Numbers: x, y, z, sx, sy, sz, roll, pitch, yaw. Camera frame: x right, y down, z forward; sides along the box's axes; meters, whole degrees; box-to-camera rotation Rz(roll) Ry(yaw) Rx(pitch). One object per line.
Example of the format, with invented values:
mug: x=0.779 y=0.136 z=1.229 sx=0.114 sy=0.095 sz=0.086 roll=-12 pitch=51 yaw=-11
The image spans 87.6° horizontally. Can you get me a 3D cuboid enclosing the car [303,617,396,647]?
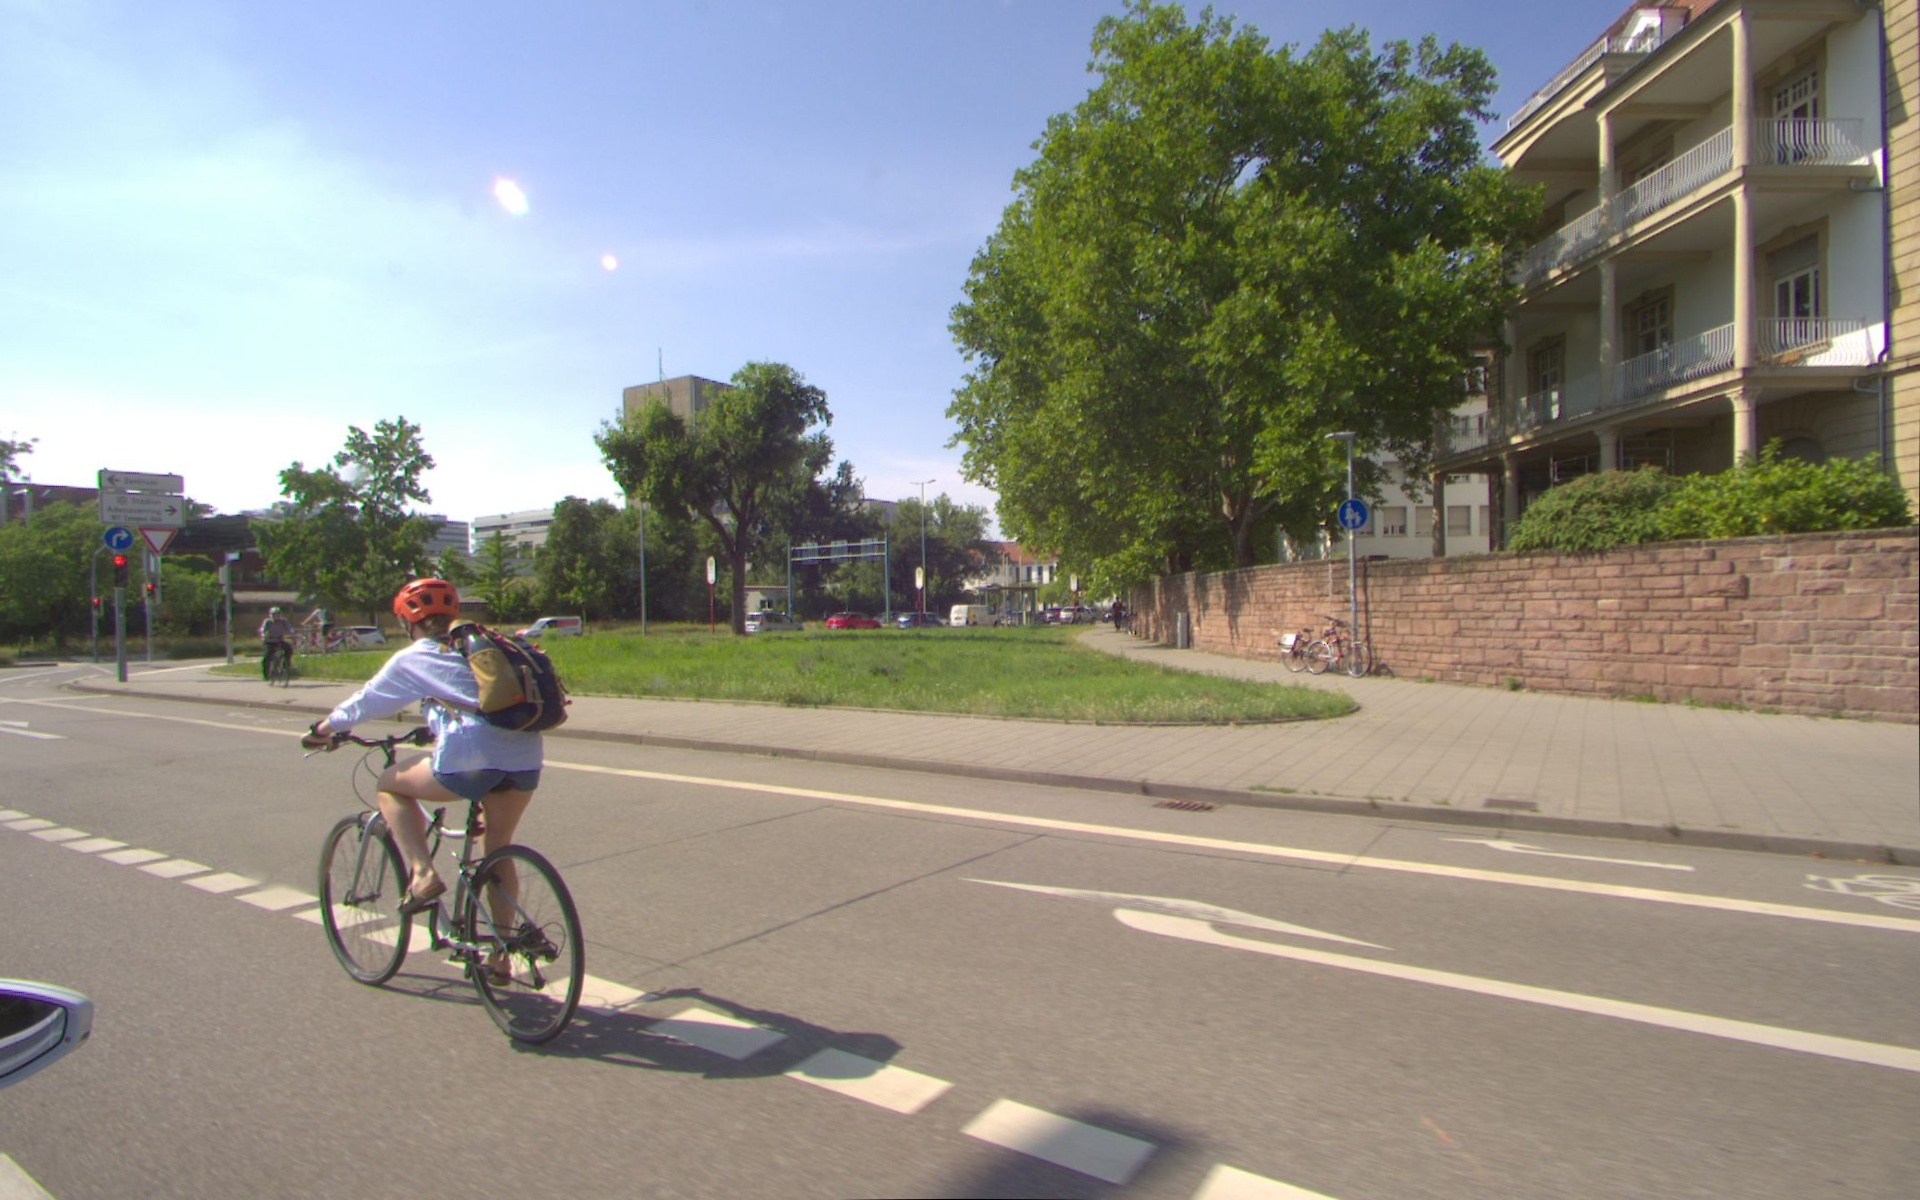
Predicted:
car: x=-34.287 y=1.788 z=56.330 sx=1.972 sy=1.483 sz=3.978 roll=-2 pitch=-1 yaw=33

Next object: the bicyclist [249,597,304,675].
bicyclist: x=-15.138 y=0.790 z=22.168 sx=0.906 sy=1.677 sz=0.676 roll=0 pitch=1 yaw=33

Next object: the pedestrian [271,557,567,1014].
pedestrian: x=-2.046 y=0.618 z=3.775 sx=0.999 sy=1.485 sz=0.582 roll=-1 pitch=-1 yaw=33

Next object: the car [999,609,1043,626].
car: x=5.063 y=1.440 z=83.020 sx=1.730 sy=1.357 sz=3.973 roll=-1 pitch=0 yaw=36

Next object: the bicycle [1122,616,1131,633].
bicycle: x=7.723 y=1.143 z=46.439 sx=0.334 sy=0.738 sz=1.365 roll=-1 pitch=0 yaw=6

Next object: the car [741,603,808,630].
car: x=-11.121 y=0.953 z=60.362 sx=1.728 sy=1.528 sz=3.977 roll=-1 pitch=0 yaw=33

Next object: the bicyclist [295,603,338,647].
bicyclist: x=-22.117 y=0.850 z=34.407 sx=1.121 sy=1.489 sz=0.496 roll=0 pitch=-2 yaw=-10

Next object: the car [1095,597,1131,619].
car: x=14.864 y=0.799 z=97.255 sx=1.973 sy=2.040 sz=3.975 roll=-1 pitch=0 yaw=35

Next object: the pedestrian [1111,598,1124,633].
pedestrian: x=8.120 y=0.779 z=51.559 sx=0.608 sy=1.763 sz=0.599 roll=-1 pitch=1 yaw=4

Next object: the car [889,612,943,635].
car: x=-3.138 y=1.665 z=71.759 sx=1.730 sy=1.493 sz=3.973 roll=-1 pitch=0 yaw=36

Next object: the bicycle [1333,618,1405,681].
bicycle: x=7.708 y=0.913 z=18.908 sx=0.343 sy=1.138 sz=1.430 roll=-1 pitch=0 yaw=-22

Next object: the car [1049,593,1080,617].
car: x=9.470 y=0.444 z=90.536 sx=1.965 sy=2.040 sz=3.991 roll=-1 pitch=0 yaw=19

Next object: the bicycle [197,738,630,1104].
bicycle: x=-2.164 y=1.086 z=3.845 sx=2.000 sy=0.943 sz=0.595 roll=-1 pitch=-1 yaw=33

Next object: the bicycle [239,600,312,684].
bicycle: x=-15.163 y=0.911 z=22.185 sx=1.785 sy=1.789 sz=0.676 roll=-1 pitch=1 yaw=33

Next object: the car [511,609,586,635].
car: x=-27.169 y=1.423 z=66.270 sx=1.883 sy=1.590 sz=4.300 roll=-1 pitch=0 yaw=32

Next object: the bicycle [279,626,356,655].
bicycle: x=-22.094 y=1.386 z=34.462 sx=2.128 sy=0.928 sz=0.674 roll=-1 pitch=1 yaw=-10

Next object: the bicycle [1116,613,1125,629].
bicycle: x=7.924 y=1.028 z=49.364 sx=0.334 sy=0.738 sz=1.365 roll=-1 pitch=0 yaw=6

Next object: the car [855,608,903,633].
car: x=-7.070 y=1.757 z=87.460 sx=1.976 sy=2.039 sz=3.971 roll=-3 pitch=-1 yaw=38

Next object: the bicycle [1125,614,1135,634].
bicycle: x=7.595 y=1.071 z=44.800 sx=0.365 sy=0.867 sz=1.307 roll=-1 pitch=0 yaw=8

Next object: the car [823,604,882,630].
car: x=-7.001 y=1.121 z=65.718 sx=1.728 sy=1.527 sz=3.981 roll=-1 pitch=-3 yaw=33

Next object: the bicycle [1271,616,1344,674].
bicycle: x=7.111 y=0.903 z=20.532 sx=0.345 sy=1.138 sz=1.421 roll=-2 pitch=1 yaw=-43

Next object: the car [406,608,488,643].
car: x=-31.313 y=1.521 z=61.215 sx=1.973 sy=2.040 sz=3.975 roll=-1 pitch=0 yaw=35

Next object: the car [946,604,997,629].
car: x=0.922 y=1.234 z=77.077 sx=1.730 sy=1.781 sz=4.402 roll=0 pitch=0 yaw=36

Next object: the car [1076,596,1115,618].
car: x=12.779 y=0.648 z=94.219 sx=1.973 sy=2.040 sz=3.975 roll=-1 pitch=0 yaw=35
